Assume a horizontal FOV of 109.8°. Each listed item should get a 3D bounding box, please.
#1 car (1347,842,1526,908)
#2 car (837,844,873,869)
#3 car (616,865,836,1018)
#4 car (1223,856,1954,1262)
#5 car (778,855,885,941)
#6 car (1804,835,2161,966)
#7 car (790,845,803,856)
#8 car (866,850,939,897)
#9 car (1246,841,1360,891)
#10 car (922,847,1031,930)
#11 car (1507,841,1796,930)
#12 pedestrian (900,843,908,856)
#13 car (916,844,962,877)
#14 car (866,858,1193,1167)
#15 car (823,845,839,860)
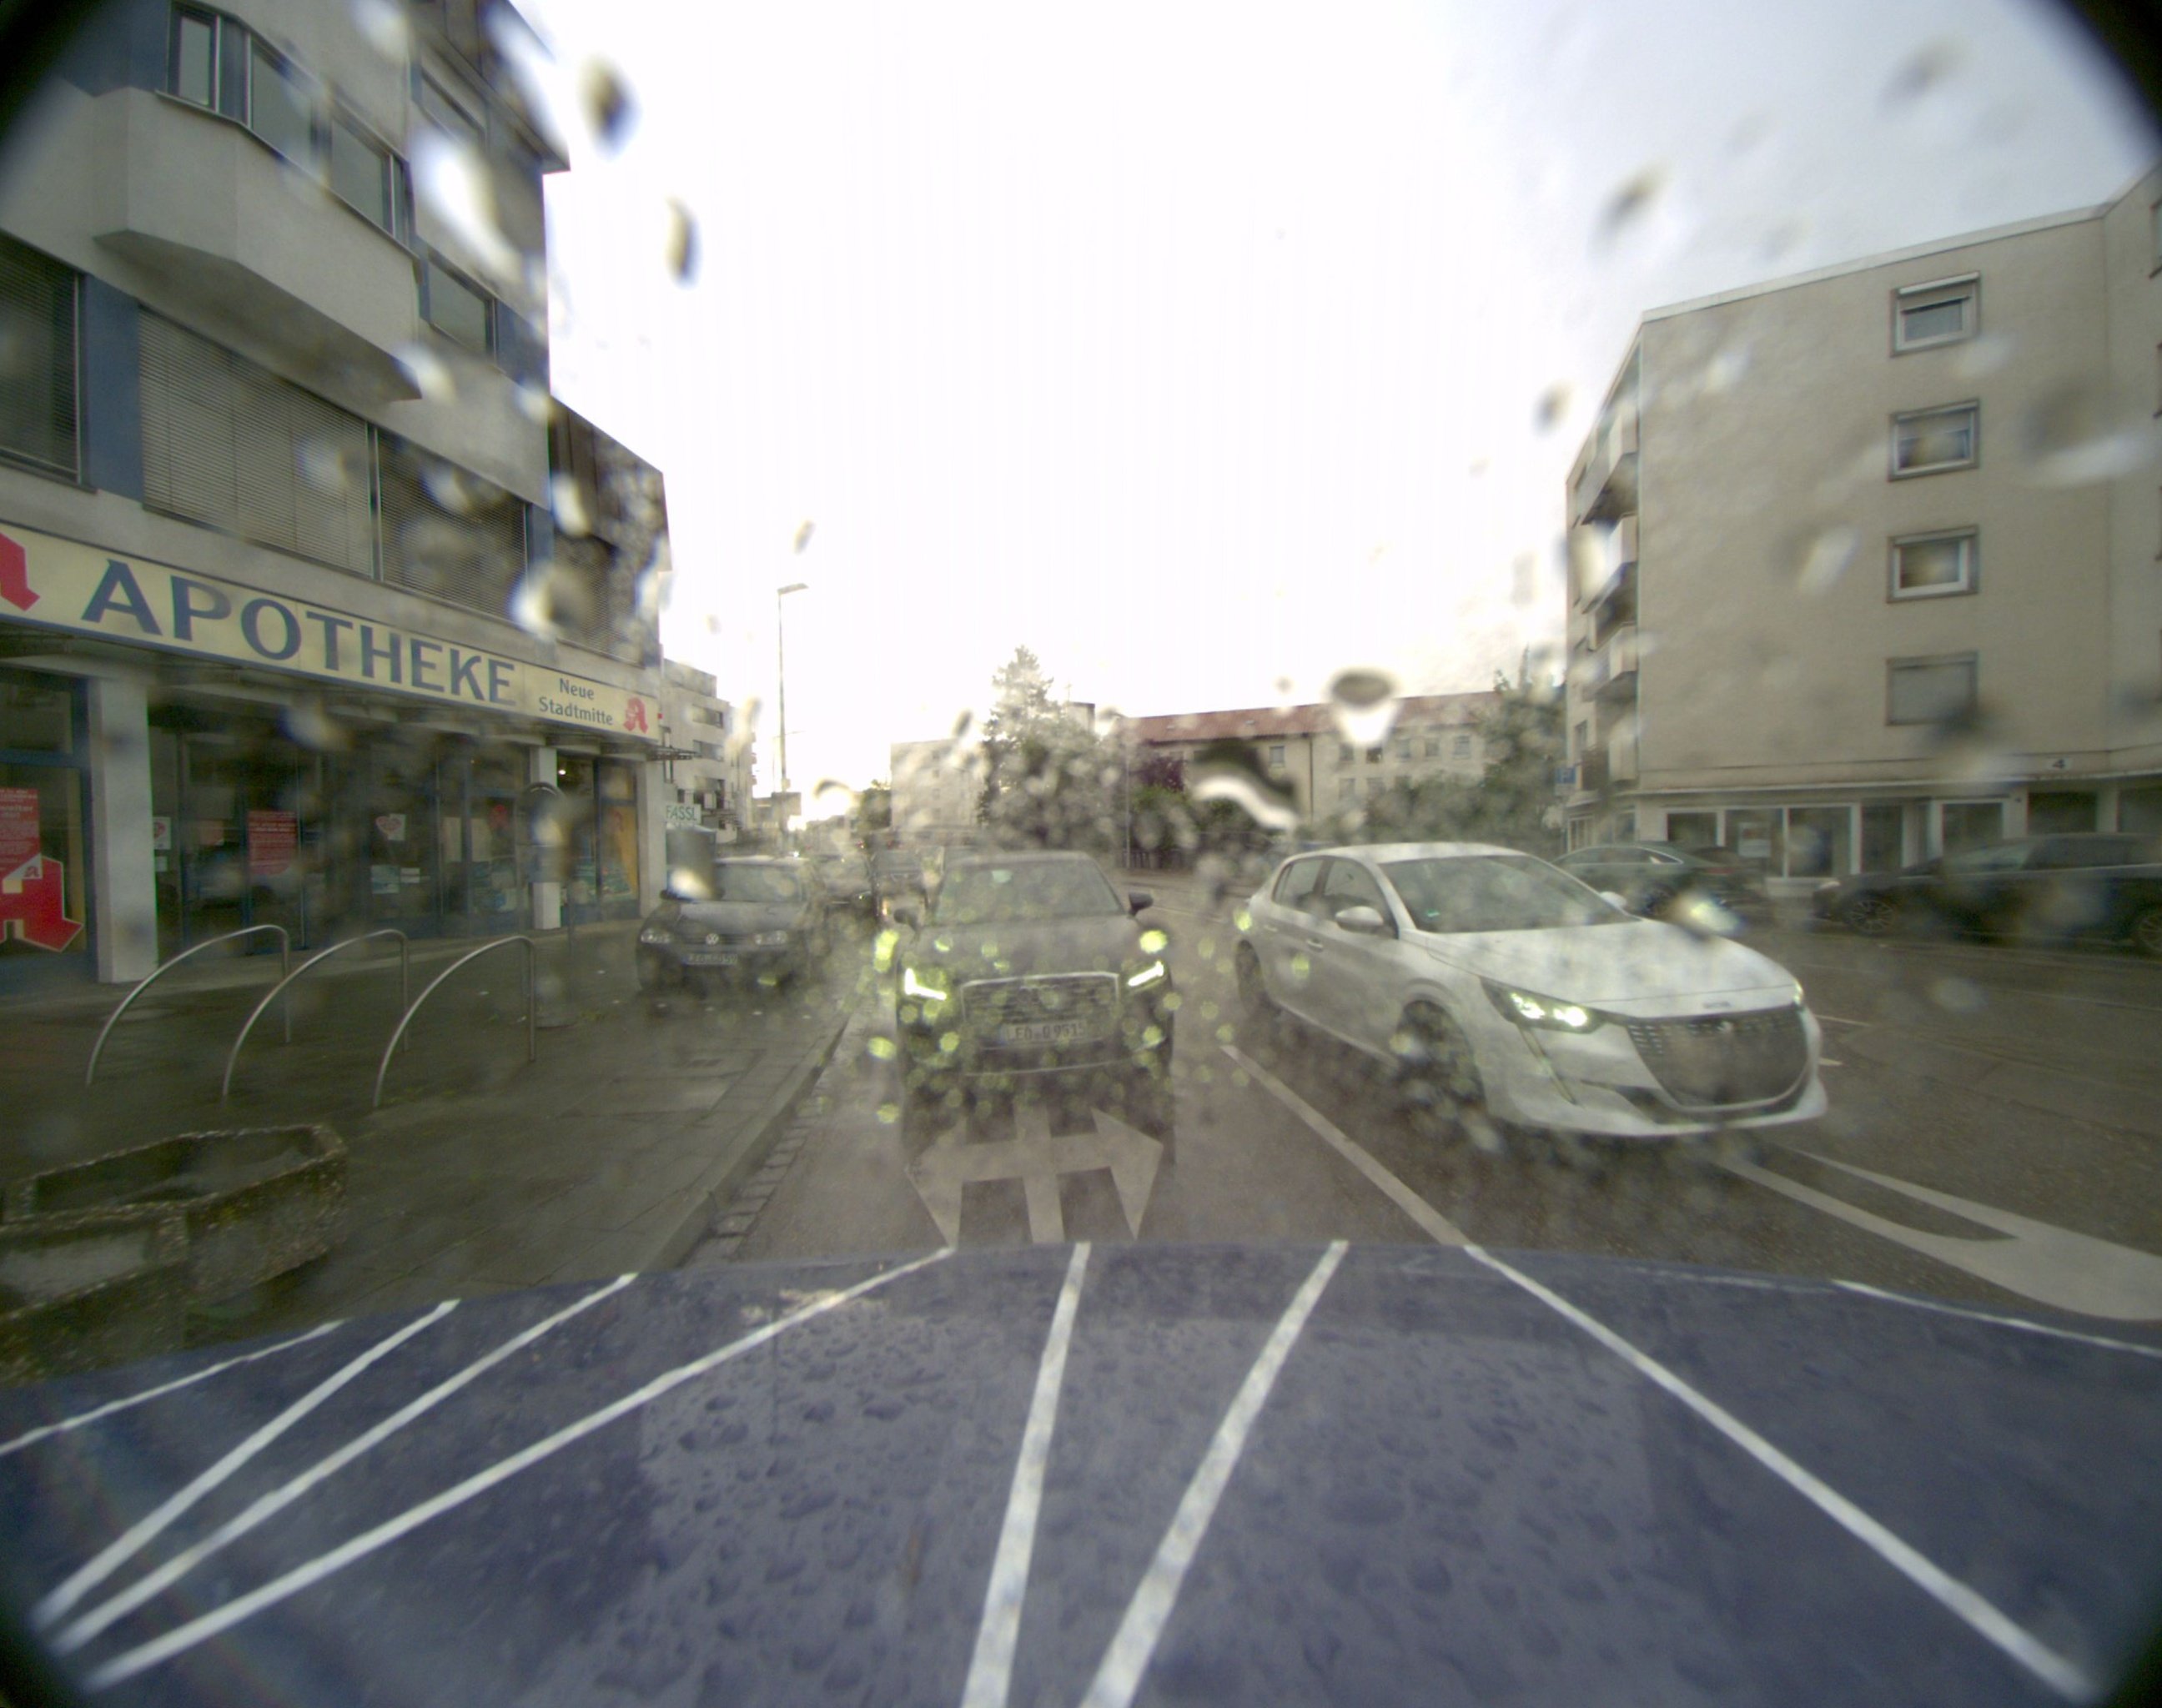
[{"bbox_3d":[9.163,0.454,20.031,1.639,1.491,4.337,-1,2,-21],"label":"car"},{"bbox_3d":[-15.749,0.153,53.132,2.000,1.606,3.995,-3,2,-12],"label":"car"},{"bbox_3d":[-4.038,0.884,9.266,1.656,1.364,3.726,1,1,-13],"label":"car"},{"bbox_3d":[2.420,0.782,4.906,1.744,1.401,3.892,-3,1,-8],"label":"car"},{"bbox_3d":[-4.885,0.768,15.337,1.660,1.416,3.995,-1,1,-13],"label":"car"},{"bbox_3d":[12.859,0.509,10.199,1.839,1.452,4.179,-3,2,-21],"label":"car"},{"bbox_3d":[-43.749,-0.543,116.736,1.747,1.631,3.992,-1,2,-21],"label":"car"},{"bbox_3d":[-6.163,0.593,25.945,1.804,1.361,3.965,-1,2,-22],"label":"car"},{"bbox_3d":[7.294,0.330,25.333,1.636,1.497,3.873,-1,2,-21],"label":"car"},{"bbox_3d":[-2.383,0.638,16.422,1.736,1.519,4.057,-1,1,-16],"label":"car"},{"bbox_3d":[11.062,0.495,15.140,1.839,1.426,4.265,-3,2,-22],"label":"car"},{"bbox_3d":[-22.802,-0.593,97.949,0.857,1.726,0.834,-2,2,-29],"label":"pedestrian"},{"bbox_3d":[-7.130,0.274,37.933,1.753,1.446,3.806,-1,2,-18],"label":"car"},{"bbox_3d":[-0.546,0.851,6.119,1.735,1.436,4.042,-2,2,-9],"label":"car"},{"bbox_3d":[-30.668,-0.201,93.271,1.746,1.631,3.992,-1,2,-19],"label":"car"}]
